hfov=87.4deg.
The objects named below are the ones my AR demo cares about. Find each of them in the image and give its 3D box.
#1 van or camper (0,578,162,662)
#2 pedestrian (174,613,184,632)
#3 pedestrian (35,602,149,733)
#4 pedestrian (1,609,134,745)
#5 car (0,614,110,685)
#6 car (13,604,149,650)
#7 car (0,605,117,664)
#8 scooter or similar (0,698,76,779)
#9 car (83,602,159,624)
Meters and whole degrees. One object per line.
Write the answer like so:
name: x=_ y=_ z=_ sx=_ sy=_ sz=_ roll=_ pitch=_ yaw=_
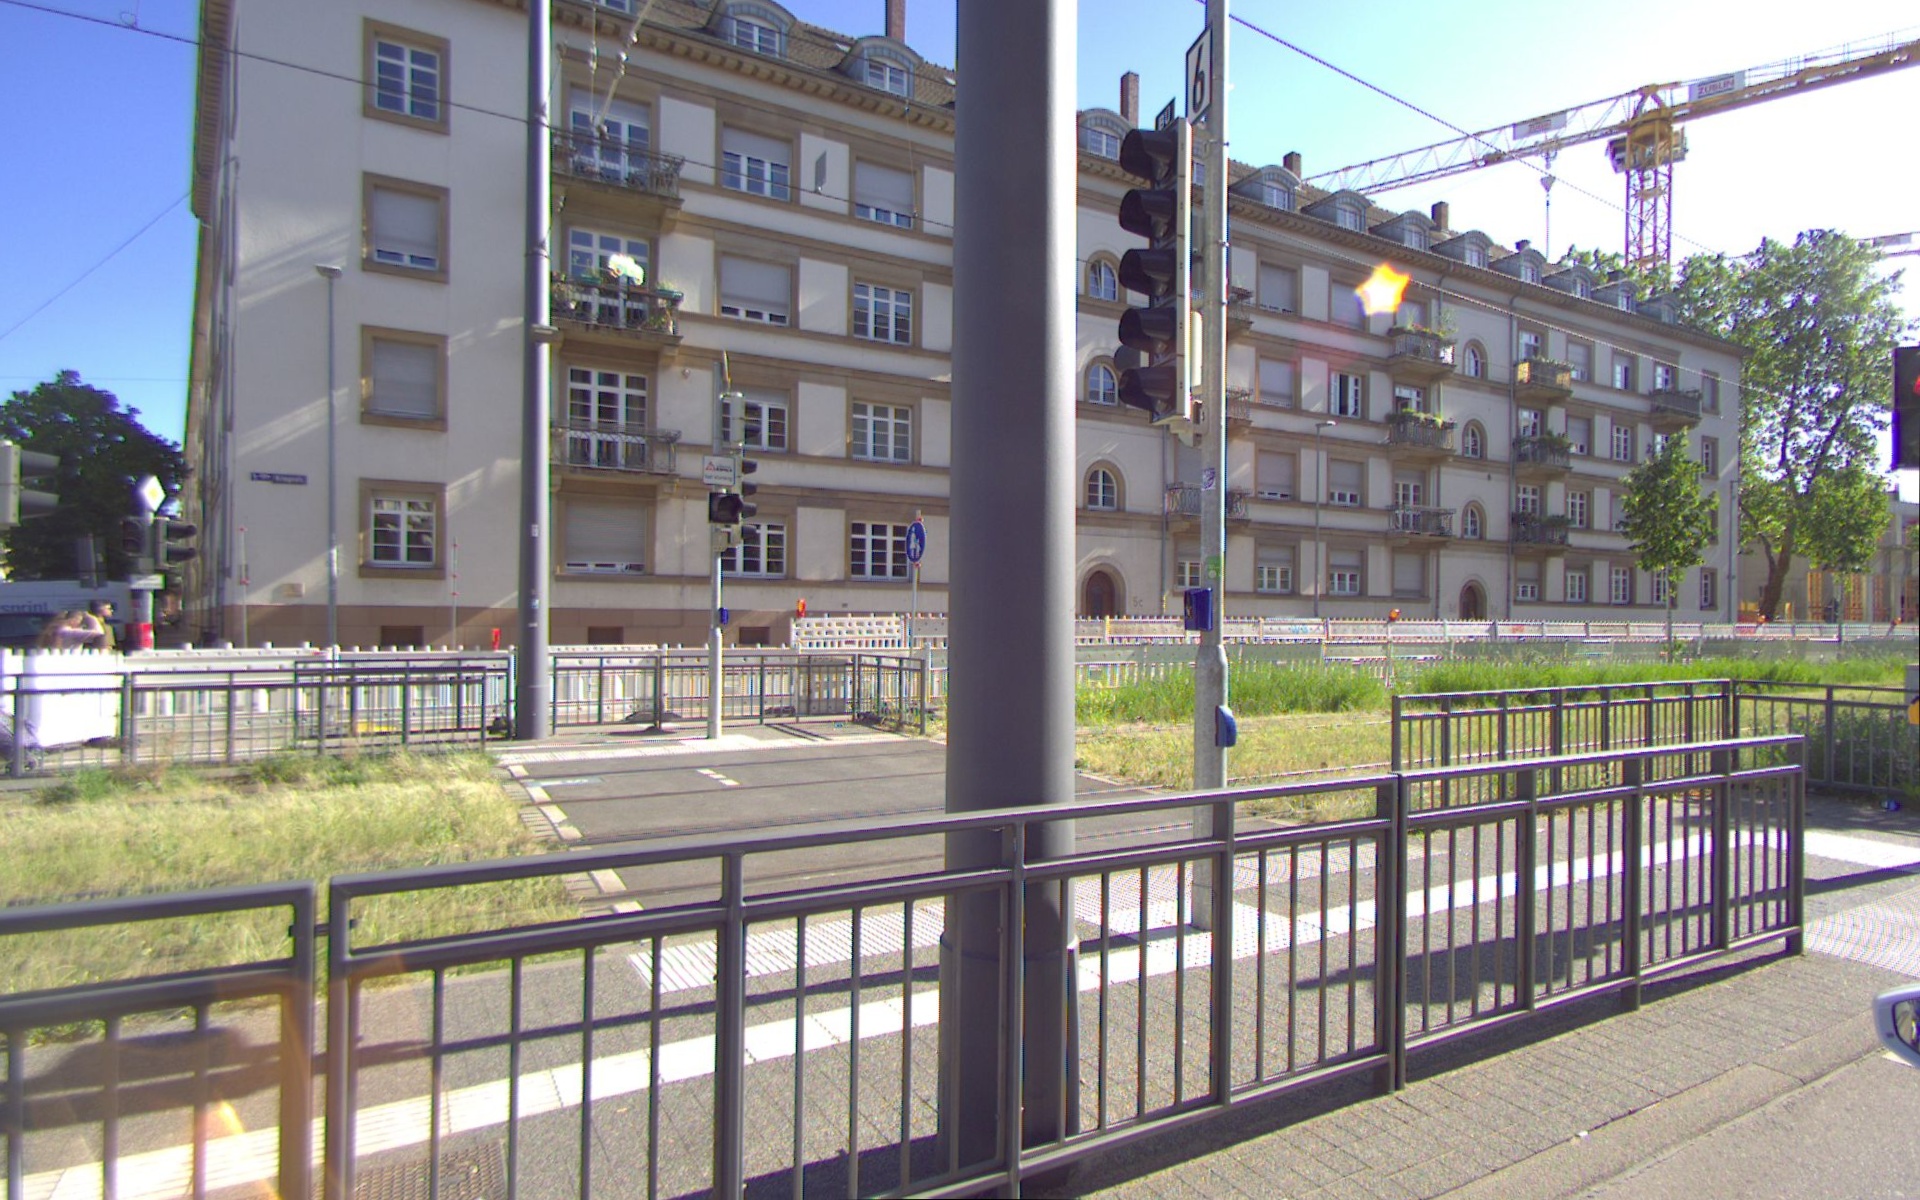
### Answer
van or camper: x=-27.881 y=0.599 z=30.277 sx=5.911 sy=2.432 sz=1.976 roll=1 pitch=-1 yaw=-42
pedestrian: x=-73.832 y=2.104 z=94.987 sx=0.682 sy=1.778 sz=0.808 roll=1 pitch=-1 yaw=-36
pedestrian: x=-12.368 y=0.939 z=14.347 sx=0.893 sy=1.804 sz=0.866 roll=1 pitch=0 yaw=-11
pedestrian: x=-10.687 y=0.895 z=12.067 sx=0.895 sy=1.557 sz=0.864 roll=1 pitch=0 yaw=-18
car: x=-21.463 y=1.093 z=22.496 sx=3.642 sy=1.542 sz=1.672 roll=1 pitch=-1 yaw=-39
car: x=-35.540 y=1.090 z=40.765 sx=3.963 sy=1.799 sz=1.724 roll=1 pitch=-1 yaw=-37
car: x=-24.965 y=0.909 z=26.855 sx=3.635 sy=1.542 sz=1.672 roll=1 pitch=-1 yaw=-39
scooter or similar: x=-8.605 y=1.249 z=9.119 sx=0.695 sy=0.660 sz=0.516 roll=1 pitch=0 yaw=-3
car: x=-58.132 y=0.890 z=69.653 sx=1.730 sy=1.480 sz=3.854 roll=0 pitch=-1 yaw=43
